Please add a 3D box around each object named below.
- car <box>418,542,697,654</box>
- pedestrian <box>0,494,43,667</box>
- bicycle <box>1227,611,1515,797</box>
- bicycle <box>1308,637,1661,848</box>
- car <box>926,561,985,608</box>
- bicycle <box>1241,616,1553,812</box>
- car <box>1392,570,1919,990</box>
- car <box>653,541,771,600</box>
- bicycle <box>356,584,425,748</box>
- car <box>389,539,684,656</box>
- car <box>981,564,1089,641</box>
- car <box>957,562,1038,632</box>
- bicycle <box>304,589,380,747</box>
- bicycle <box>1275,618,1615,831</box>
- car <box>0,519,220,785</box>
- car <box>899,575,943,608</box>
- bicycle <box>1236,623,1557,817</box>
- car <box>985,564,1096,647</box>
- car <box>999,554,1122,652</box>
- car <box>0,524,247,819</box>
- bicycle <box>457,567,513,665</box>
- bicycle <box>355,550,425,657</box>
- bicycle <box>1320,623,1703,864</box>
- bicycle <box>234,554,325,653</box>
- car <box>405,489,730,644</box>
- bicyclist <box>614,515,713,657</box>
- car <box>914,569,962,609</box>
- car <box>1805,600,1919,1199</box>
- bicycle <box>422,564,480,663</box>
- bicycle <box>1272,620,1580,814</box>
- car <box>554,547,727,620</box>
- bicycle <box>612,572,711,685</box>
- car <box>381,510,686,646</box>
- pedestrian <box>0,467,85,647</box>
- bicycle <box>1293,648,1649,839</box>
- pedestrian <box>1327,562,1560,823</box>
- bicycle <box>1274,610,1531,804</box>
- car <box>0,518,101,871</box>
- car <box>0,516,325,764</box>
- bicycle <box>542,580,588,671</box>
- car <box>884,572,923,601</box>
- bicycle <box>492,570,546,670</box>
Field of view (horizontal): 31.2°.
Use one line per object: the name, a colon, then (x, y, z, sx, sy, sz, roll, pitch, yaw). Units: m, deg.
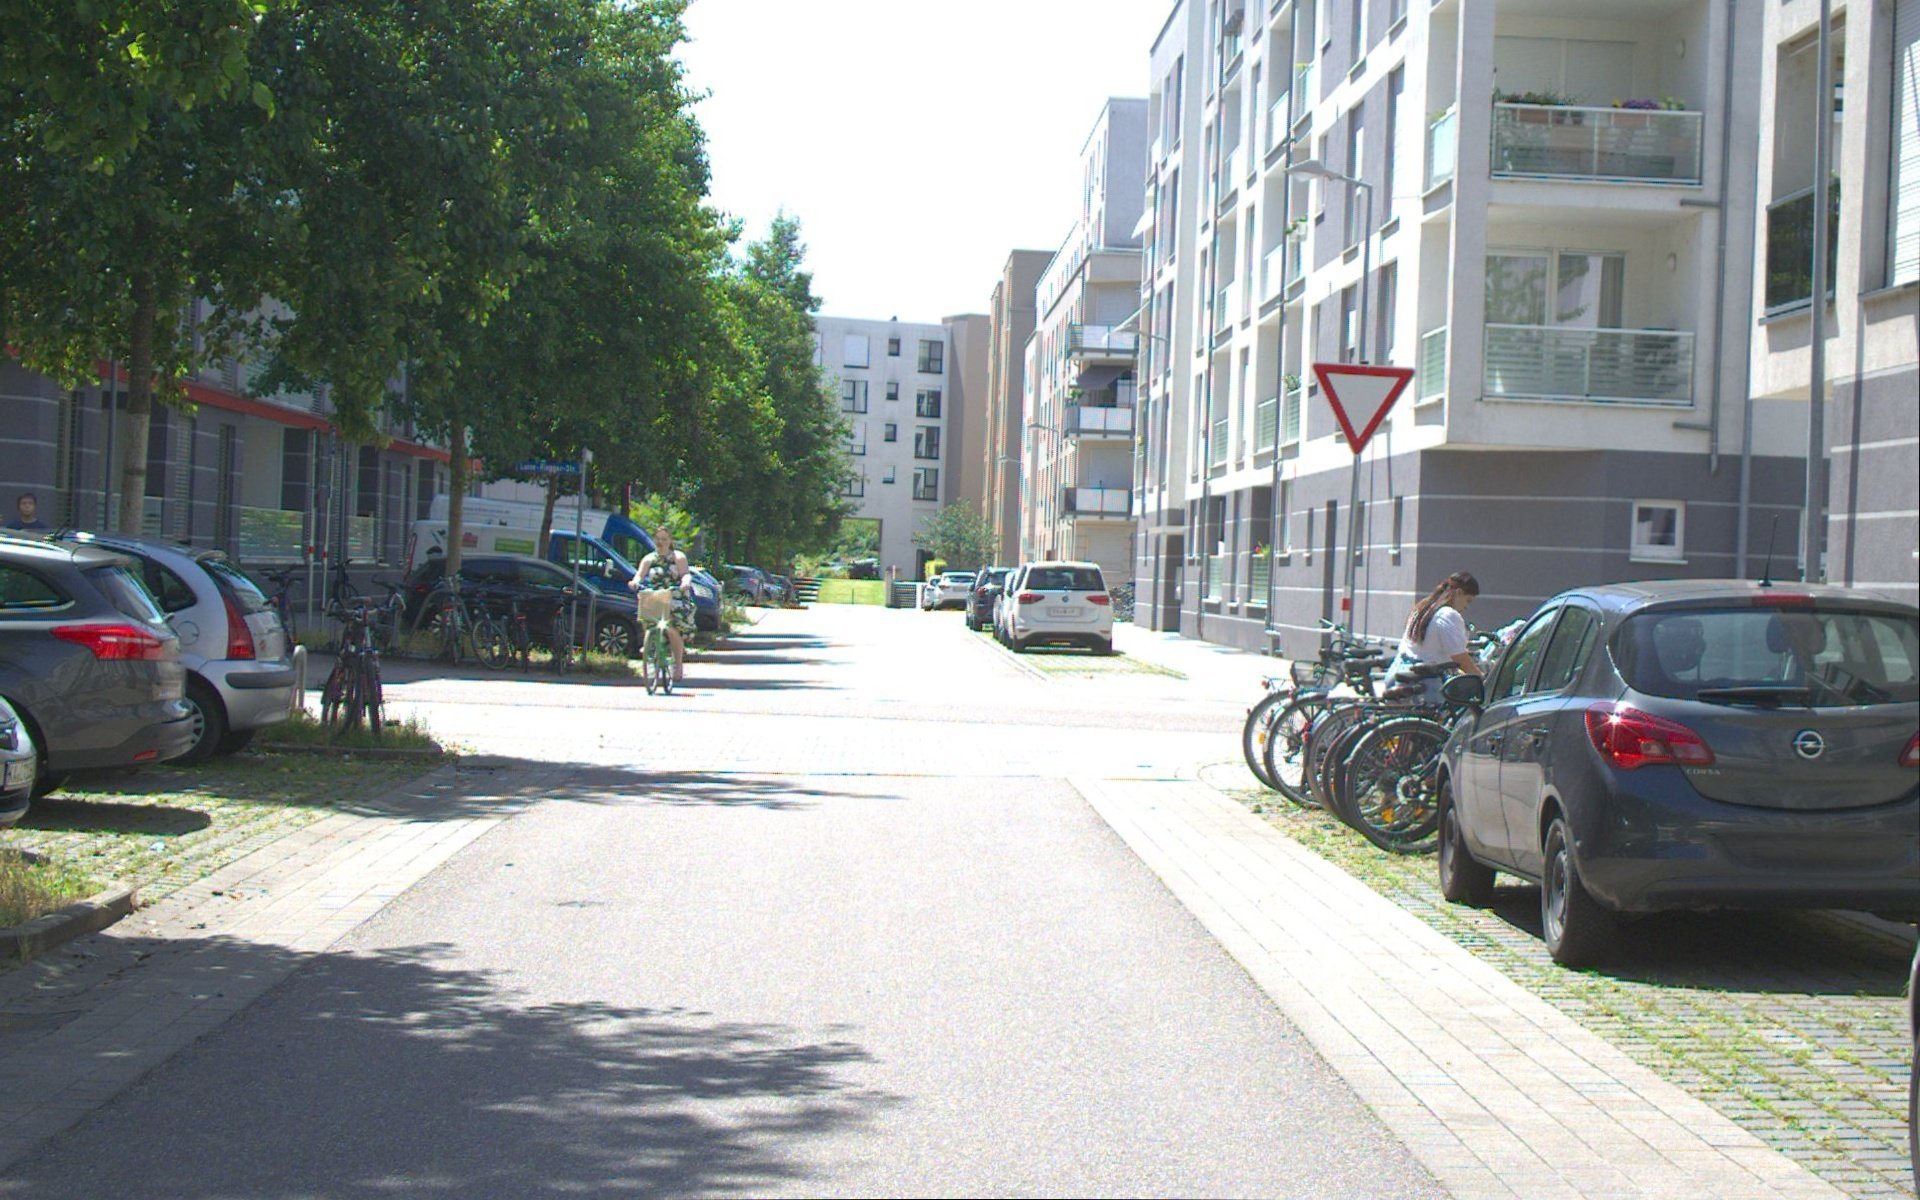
car: (-6.691, -0.045, 57.491, 4.383, 1.536, 1.878, 4, 0, -1)
pedestrian: (-9.710, -0.213, 34.038, 1.000, 1.684, 0.832, 2, 0, -1)
bicycle: (2.776, 0.695, 23.339, 1.859, 1.189, 0.687, 1, 0, 2)
bicycle: (2.890, 0.779, 19.038, 1.786, 1.100, 0.747, 1, 0, -5)
car: (-0.180, -0.616, 130.718, 1.993, 1.669, 4.000, 2, 1, -3)
bicycle: (2.788, 0.713, 21.947, 1.924, 1.175, 0.638, 1, 0, 8)
car: (3.036, 0.643, 14.646, 1.738, 1.480, 4.229, 1, 1, -1)
car: (-9.098, -1.075, 126.171, 3.988, 2.007, 2.000, 2, 0, 5)
bicycle: (-4.345, 0.480, 26.173, 0.371, 1.176, 1.821, 2, 1, -13)
car: (-6.695, -0.046, 54.744, 4.383, 1.509, 2.075, 4, 0, -1)
car: (1.549, 0.039, 72.604, 1.993, 1.519, 4.000, 2, 1, -2)
car: (0.922, -0.090, 82.175, 1.757, 1.547, 4.000, 3, 1, 2)
bicycle: (-4.706, 0.496, 26.139, 0.433, 1.124, 1.979, 2, 1, -13)
bicycle: (2.874, 0.736, 20.394, 1.923, 1.213, 0.461, 1, 0, -10)
car: (-6.808, 0.254, 21.338, 3.987, 1.549, 1.800, 2, 1, 1)
car: (-1.968, -0.421, 171.993, 1.993, 1.514, 4.000, 2, 1, -2)
bicycle: (2.704, 0.731, 21.340, 1.924, 1.129, 0.609, 1, 0, 8)
car: (1.552, 0.086, 67.774, 1.993, 1.519, 4.000, 2, 1, -1)
car: (1.775, 0.035, 62.075, 1.997, 1.651, 4.115, 2, 1, -1)
car: (-6.159, 0.292, 18.704, 4.180, 1.481, 1.959, 3, -1, -5)
bicycle: (-6.164, 0.196, 44.637, 0.434, 1.200, 1.700, 4, 2, -1)
bicycle: (-7.391, 0.030, 44.660, 0.593, 1.327, 1.812, 2, 2, -1)
bicycle: (2.920, 0.754, 18.291, 1.869, 1.213, 0.715, 1, 0, -5)
bicycle: (-8.791, 0.030, 44.472, 0.689, 1.166, 2.223, 5, 1, -1)
car: (-7.624, -0.658, 67.344, 6.023, 2.807, 2.605, 2, 0, -1)
bicyclist: (-3.132, -0.154, 36.357, 0.953, 1.454, 0.800, 2, 0, -2)
car: (-1.015, -0.505, 157.940, 1.993, 1.711, 4.000, 2, 1, -2)
car: (3.062, 0.790, 6.327, 1.834, 1.499, 4.351, 1, 1, -1)
bicycle: (-6.634, 0.164, 44.882, 0.518, 1.200, 1.752, 4, 2, -3)
bicycle: (2.847, 0.713, 20.977, 1.833, 1.144, 0.461, 1, 0, -20)
car: (-7.836, -0.415, 84.549, 3.987, 1.612, 2.000, 2, 0, 1)
bicycle: (-3.147, 0.286, 36.392, 0.898, 1.125, 2.040, 2, 1, -2)
car: (-7.627, -0.400, 61.913, 5.145, 2.112, 2.312, 3, 1, -1)
pedestrian: (-10.703, -0.498, 39.319, 1.009, 2.007, 1.129, 2, 0, 2)
bicycle: (2.922, 0.819, 19.733, 1.923, 1.031, 0.559, 1, 0, -5)
pedestrian: (2.878, 0.543, 20.519, 1.178, 1.509, 0.688, 1, 1, -11)
bicycle: (2.903, 0.696, 22.631, 1.550, 1.213, 0.708, 1, 0, -3)
car: (-6.182, 0.289, 15.806, 3.937, 1.548, 1.872, 4, 1, -2)
car: (-6.378, 0.197, 23.619, 3.630, 1.515, 1.832, 4, 0, -1)
bicycle: (-5.149, 0.319, 44.867, 0.466, 1.138, 1.926, 2, 1, -4)
car: (-3.182, -0.755, 193.226, 1.993, 1.514, 4.000, 2, 1, 1)
bicycle: (-5.732, 0.245, 44.638, 0.570, 1.170, 1.769, 5, 2, -8)
